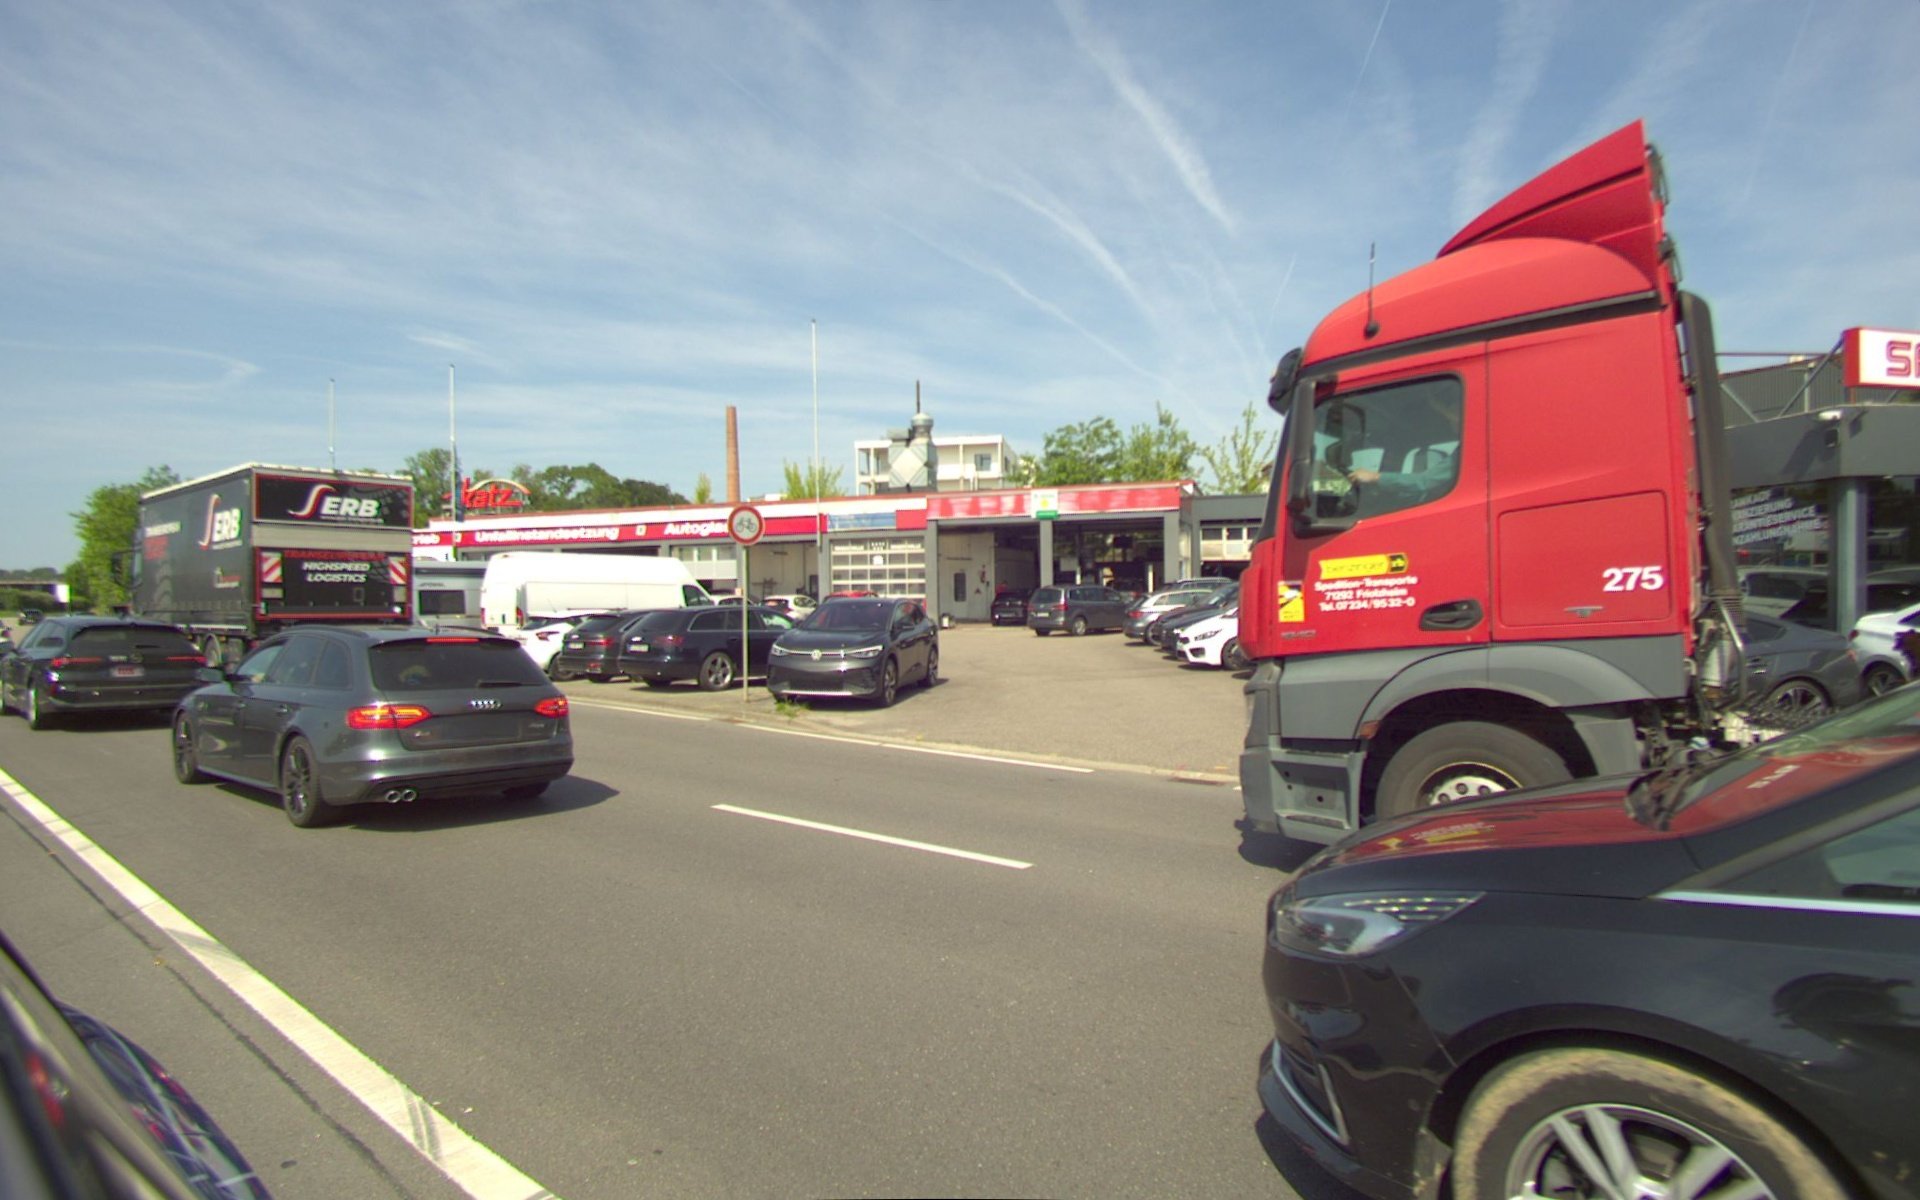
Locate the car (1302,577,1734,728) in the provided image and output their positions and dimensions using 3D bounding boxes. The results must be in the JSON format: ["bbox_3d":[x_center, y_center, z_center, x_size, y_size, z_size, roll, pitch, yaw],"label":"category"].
[{"bbox_3d":[6.644,0.569,12.304,4.277,1.498,1.802,-2,1,-6],"label":"car"}]

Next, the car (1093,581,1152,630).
[{"bbox_3d":[6.562,0.224,40.507,1.736,1.821,4.079,-1,0,18],"label":"car"}]

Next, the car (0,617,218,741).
[{"bbox_3d":[-11.937,0.970,13.923,4.373,1.454,1.695,-1,-2,39],"label":"car"}]

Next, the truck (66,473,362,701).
[{"bbox_3d":[-16.546,-0.171,22.037,9.963,4.028,2.685,-1,-1,38],"label":"truck"}]

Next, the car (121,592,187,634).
[{"bbox_3d":[-52.091,0.823,65.529,2.399,2.563,6.060,-1,0,-30],"label":"car"}]

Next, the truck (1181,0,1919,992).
[{"bbox_3d":[4.498,-0.484,5.079,6.047,4.028,2.695,-1,-1,37],"label":"truck"}]

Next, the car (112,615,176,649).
[{"bbox_3d":[-38.992,1.500,48.322,4.000,1.425,1.742,-1,3,43],"label":"car"}]

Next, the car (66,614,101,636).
[{"bbox_3d":[-63.498,1.800,73.266,1.801,1.538,4.464,2,-2,-42],"label":"car"}]

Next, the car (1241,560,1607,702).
[{"bbox_3d":[6.632,0.410,14.800,4.403,1.762,1.894,-2,1,-3],"label":"car"}]

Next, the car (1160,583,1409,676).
[{"bbox_3d":[6.120,0.522,19.394,4.082,1.535,1.829,-2,1,-3],"label":"car"}]

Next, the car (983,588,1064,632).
[{"bbox_3d":[2.614,0.362,40.812,1.858,1.574,4.068,-1,2,26],"label":"car"}]

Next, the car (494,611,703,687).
[{"bbox_3d":[-7.932,1.013,22.435,1.881,1.481,3.944,-1,-1,42],"label":"car"}]

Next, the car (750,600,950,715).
[{"bbox_3d":[-1.623,0.831,16.546,2.010,1.635,4.166,-1,0,13],"label":"car"}]

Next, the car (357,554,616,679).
[{"bbox_3d":[-11.740,0.376,25.452,2.176,2.794,5.506,-1,-1,42],"label":"car"}]

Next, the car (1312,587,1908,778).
[{"bbox_3d":[6.089,0.690,9.829,4.569,1.447,1.977,-2,1,-6],"label":"car"}]

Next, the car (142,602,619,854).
[{"bbox_3d":[-4.934,0.844,8.340,4.582,1.535,1.843,-2,-2,38],"label":"car"}]

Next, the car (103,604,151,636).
[{"bbox_3d":[-64.173,1.537,77.949,2.405,2.280,5.343,-2,0,-44],"label":"car"}]

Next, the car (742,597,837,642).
[{"bbox_3d":[-6.254,0.695,37.552,1.868,1.531,3.921,-1,0,18],"label":"car"}]

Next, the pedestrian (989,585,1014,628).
[{"bbox_3d":[1.705,0.264,41.715,0.739,1.740,0.860,-1,1,24],"label":"pedestrian"}]

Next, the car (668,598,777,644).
[{"bbox_3d":[-8.952,0.758,38.447,1.977,1.618,3.966,-1,0,25],"label":"car"}]

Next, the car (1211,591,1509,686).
[{"bbox_3d":[6.664,0.608,17.135,4.281,1.338,1.764,-2,1,-3],"label":"car"}]

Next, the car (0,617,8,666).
[{"bbox_3d":[-32.240,1.312,32.770,3.998,1.567,1.636,-1,-2,41],"label":"car"}]

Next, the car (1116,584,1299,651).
[{"bbox_3d":[6.439,0.432,26.694,4.284,1.535,1.893,-2,1,0],"label":"car"}]

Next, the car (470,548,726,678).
[{"bbox_3d":[-8.800,0.299,25.079,2.116,2.860,5.647,-2,-1,42],"label":"car"}]

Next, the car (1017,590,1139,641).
[{"bbox_3d":[4.045,0.504,34.283,4.039,1.620,1.887,0,-1,-42],"label":"car"}]

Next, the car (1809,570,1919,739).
[{"bbox_3d":[9.569,0.550,8.169,1.870,1.486,4.707,-2,3,7],"label":"car"}]

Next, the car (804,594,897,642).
[{"bbox_3d":[-3.902,0.612,36.773,1.902,1.630,3.976,-1,0,18],"label":"car"}]

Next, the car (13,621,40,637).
[{"bbox_3d":[-86.877,2.675,94.206,1.832,1.471,4.004,0,-1,-43],"label":"car"}]

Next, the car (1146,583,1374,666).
[{"bbox_3d":[6.359,0.493,21.761,4.281,1.535,1.817,-2,1,-3],"label":"car"}]

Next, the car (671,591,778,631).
[{"bbox_3d":[-10.300,0.496,44.210,4.447,1.666,1.858,-1,0,27],"label":"car"}]

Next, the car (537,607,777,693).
[{"bbox_3d":[-6.076,0.929,20.675,2.027,1.542,4.324,-1,-1,39],"label":"car"}]

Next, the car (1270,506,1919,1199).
[{"bbox_3d":[3.027,0.656,1.435,4.583,1.614,1.890,-2,-2,39],"label":"car"}]

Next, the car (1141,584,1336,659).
[{"bbox_3d":[6.556,0.477,24.094,4.038,1.535,1.812,-2,1,-3],"label":"car"}]

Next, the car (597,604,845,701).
[{"bbox_3d":[-4.239,0.857,18.411,2.030,1.542,3.993,-1,-1,40],"label":"car"}]
